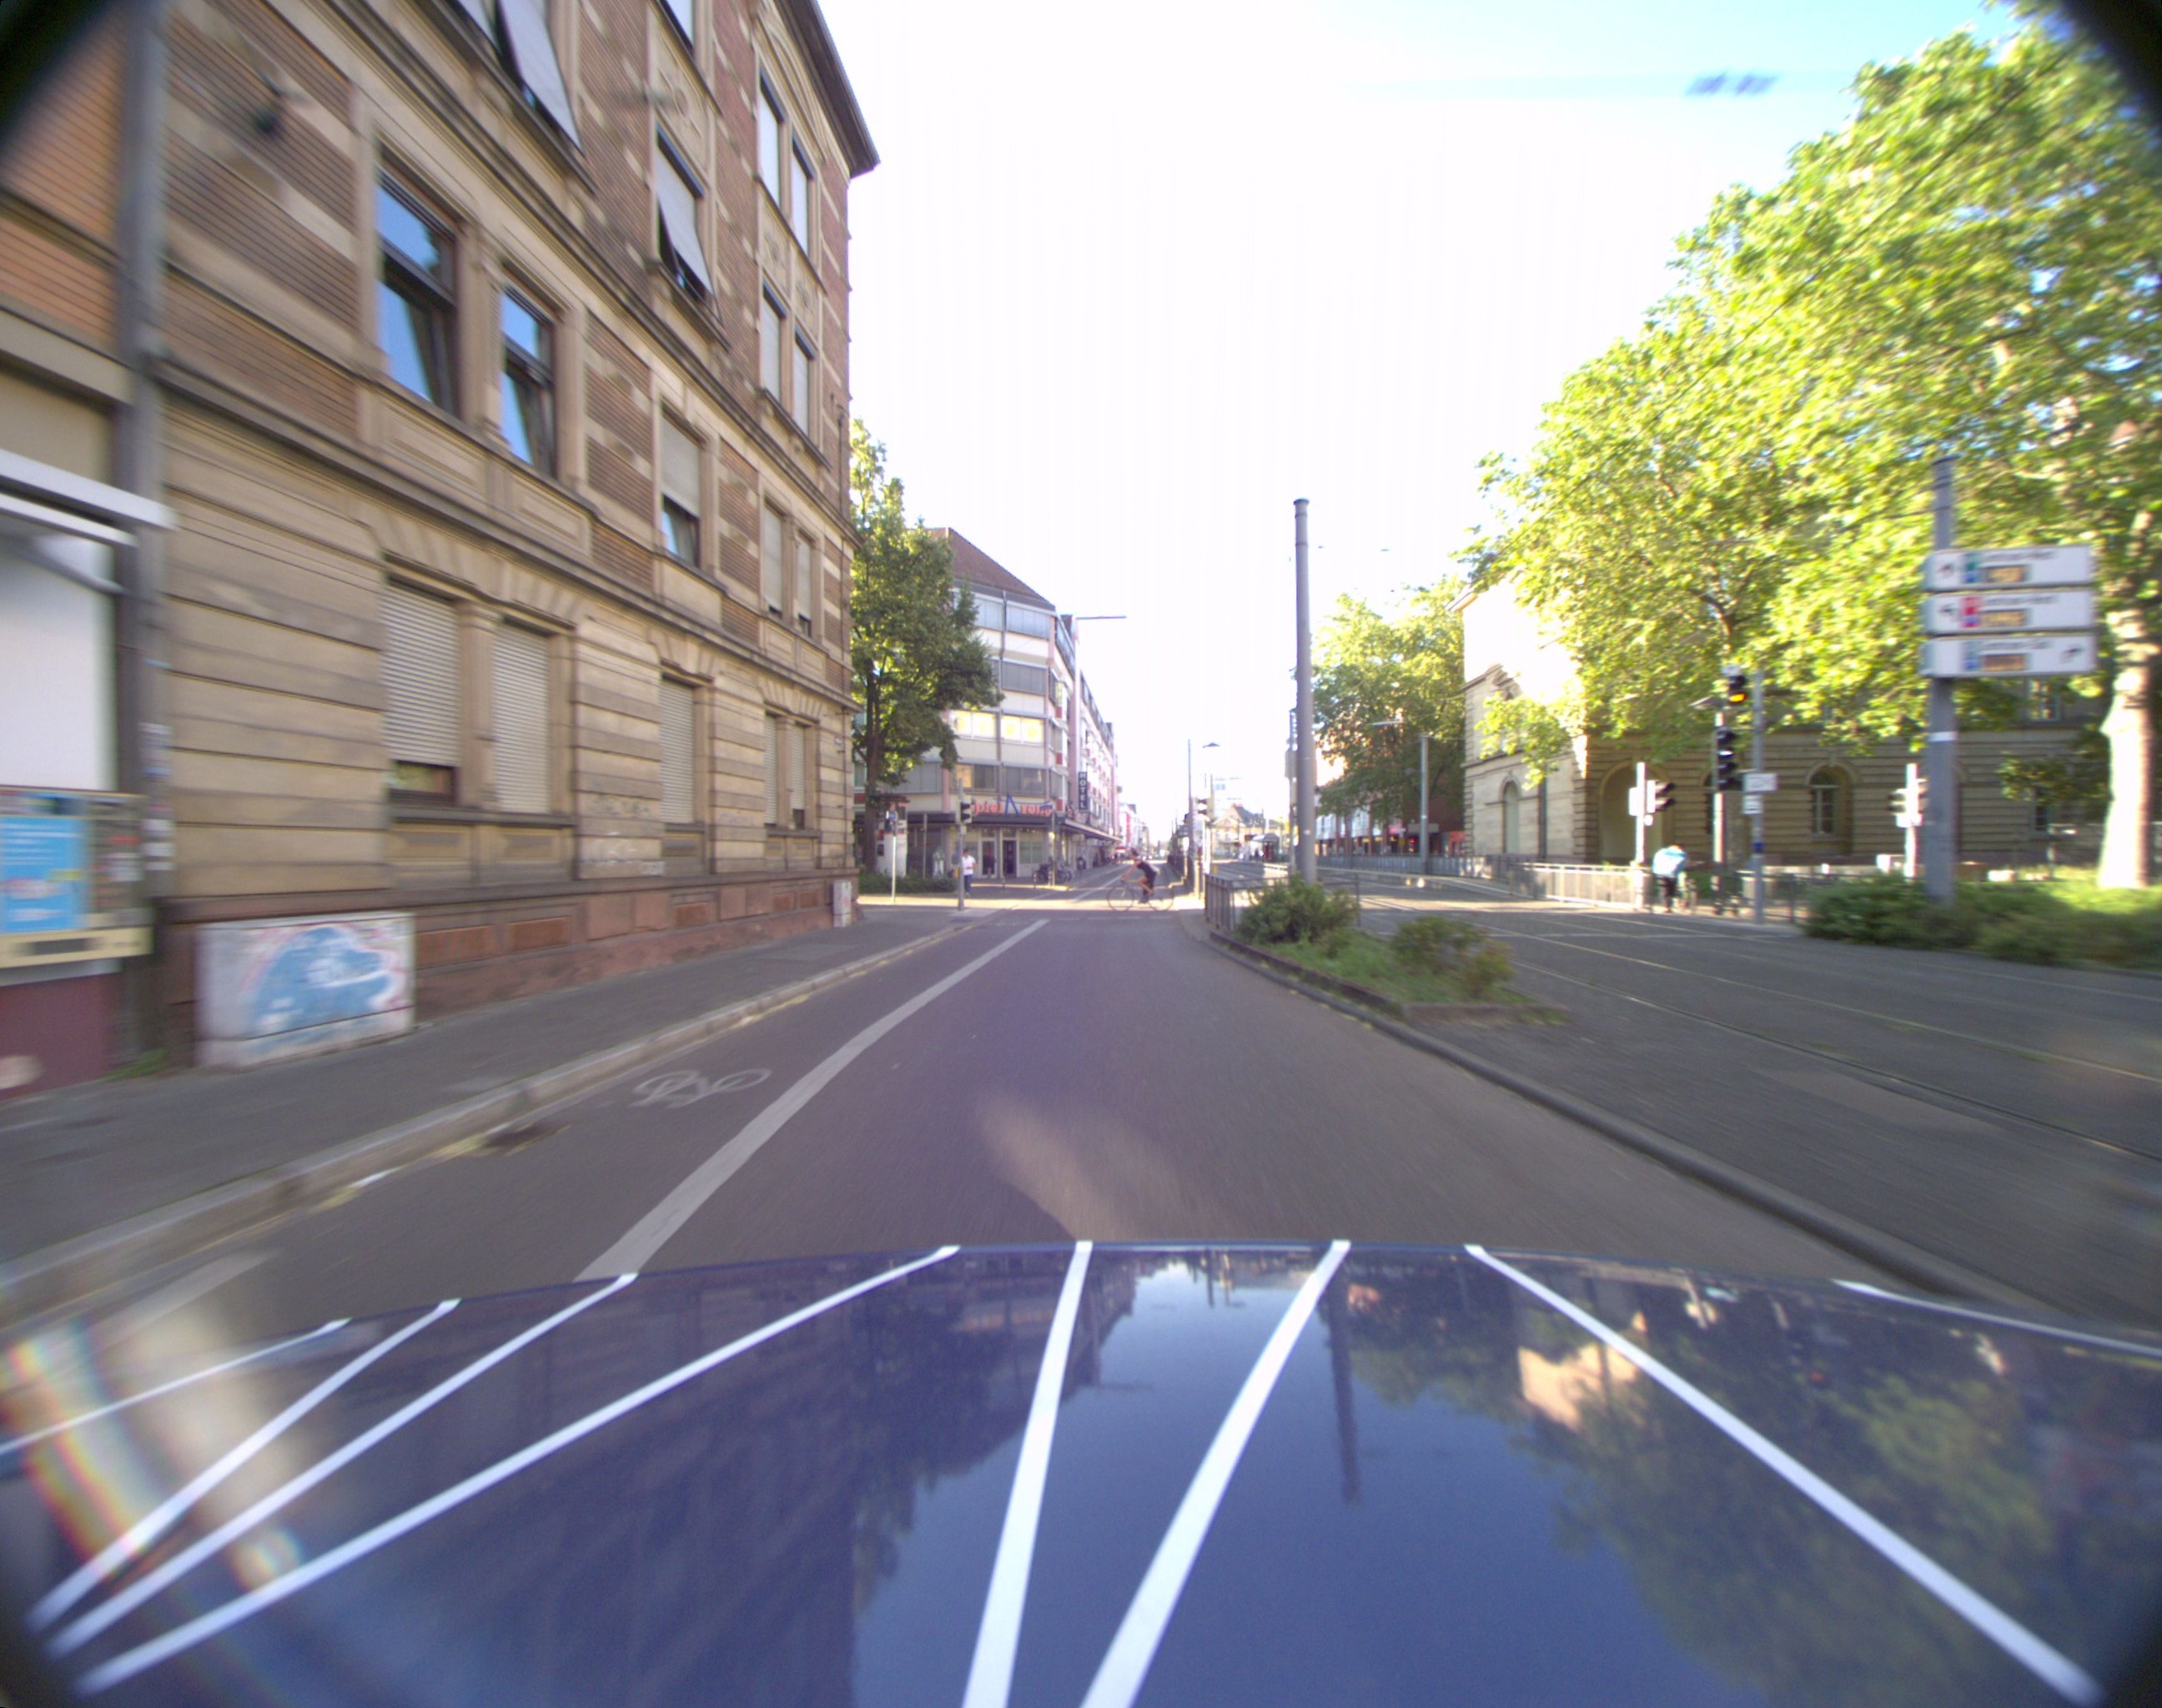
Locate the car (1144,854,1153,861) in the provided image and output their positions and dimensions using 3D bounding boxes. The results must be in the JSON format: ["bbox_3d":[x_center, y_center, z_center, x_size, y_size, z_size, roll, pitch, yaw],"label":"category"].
[{"bbox_3d":[15.542,0.769,175.268,1.971,1.664,4.877,-2,0,6],"label":"car"}]

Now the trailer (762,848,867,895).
[{"bbox_3d":[-10.749,0.660,30.916,1.968,1.722,3.938,0,1,20],"label":"trailer"}]

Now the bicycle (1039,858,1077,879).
[{"bbox_3d":[-1.200,0.768,39.885,1.917,1.041,0.681,-1,1,3],"label":"bicycle"}]

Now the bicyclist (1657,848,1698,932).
[{"bbox_3d":[12.428,0.731,15.830,0.747,1.702,0.532,-1,1,-39],"label":"bicyclist"}]

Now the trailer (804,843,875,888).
[{"bbox_3d":[-11.019,0.476,34.818,1.577,1.873,3.189,1,2,17],"label":"trailer"}]

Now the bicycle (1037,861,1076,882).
[{"bbox_3d":[-1.247,0.907,39.231,1.974,1.098,0.614,0,1,3],"label":"bicycle"}]

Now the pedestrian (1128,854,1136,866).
[{"bbox_3d":[7.518,0.852,112.453,0.812,1.793,0.859,-4,1,-23],"label":"pedestrian"}]

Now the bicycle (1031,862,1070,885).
[{"bbox_3d":[-1.467,0.946,36.836,1.838,1.048,0.710,-1,1,3],"label":"bicycle"}]

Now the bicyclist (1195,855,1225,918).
[{"bbox_3d":[3.325,0.822,19.630,0.534,1.569,0.745,-1,1,-11],"label":"bicyclist"}]

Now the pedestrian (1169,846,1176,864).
[{"bbox_3d":[8.981,0.102,74.387,0.584,1.781,0.606,-1,1,4],"label":"pedestrian"}]

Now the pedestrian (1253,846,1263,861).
[{"bbox_3d":[19.430,-0.026,83.481,0.913,1.652,0.968,-1,1,5],"label":"pedestrian"}]

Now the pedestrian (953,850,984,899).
[{"bbox_3d":[-3.876,0.709,26.244,0.785,1.655,1.034,-1,-1,8],"label":"pedestrian"}]

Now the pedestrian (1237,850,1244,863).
[{"bbox_3d":[21.116,0.311,100.499,0.859,1.756,0.812,-3,1,14],"label":"pedestrian"}]

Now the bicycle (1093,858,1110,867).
[{"bbox_3d":[2.452,0.980,91.230,1.928,1.054,0.700,2,1,5],"label":"bicycle"}]

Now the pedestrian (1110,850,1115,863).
[{"bbox_3d":[4.035,0.321,98.659,0.406,1.586,0.462,3,1,34],"label":"pedestrian"}]

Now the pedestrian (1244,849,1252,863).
[{"bbox_3d":[22.035,0.264,100.274,0.859,1.756,0.812,-3,1,14],"label":"pedestrian"}]

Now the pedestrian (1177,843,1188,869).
[{"bbox_3d":[6.686,0.148,50.024,0.623,1.702,0.850,-1,1,5],"label":"pedestrian"}]

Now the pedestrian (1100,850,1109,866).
[{"bbox_3d":[2.708,0.492,88.043,0.916,1.856,0.779,1,1,3],"label":"pedestrian"}]

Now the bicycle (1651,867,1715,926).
[{"bbox_3d":[12.658,0.867,15.962,1.902,1.071,0.583,-4,1,-38],"label":"bicycle"}]

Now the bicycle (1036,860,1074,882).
[{"bbox_3d":[-1.315,0.845,38.503,1.838,1.048,0.718,-1,1,3],"label":"bicycle"}]

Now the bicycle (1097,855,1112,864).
[{"bbox_3d":[2.926,0.676,92.651,1.733,0.968,0.506,2,1,11],"label":"bicycle"}]

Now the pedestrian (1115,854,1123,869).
[{"bbox_3d":[4.325,0.852,86.732,0.799,1.713,1.061,2,2,7],"label":"pedestrian"}]

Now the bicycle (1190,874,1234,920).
[{"bbox_3d":[3.379,1.088,19.759,0.584,1.071,1.898,-3,0,-6],"label":"bicycle"}]
